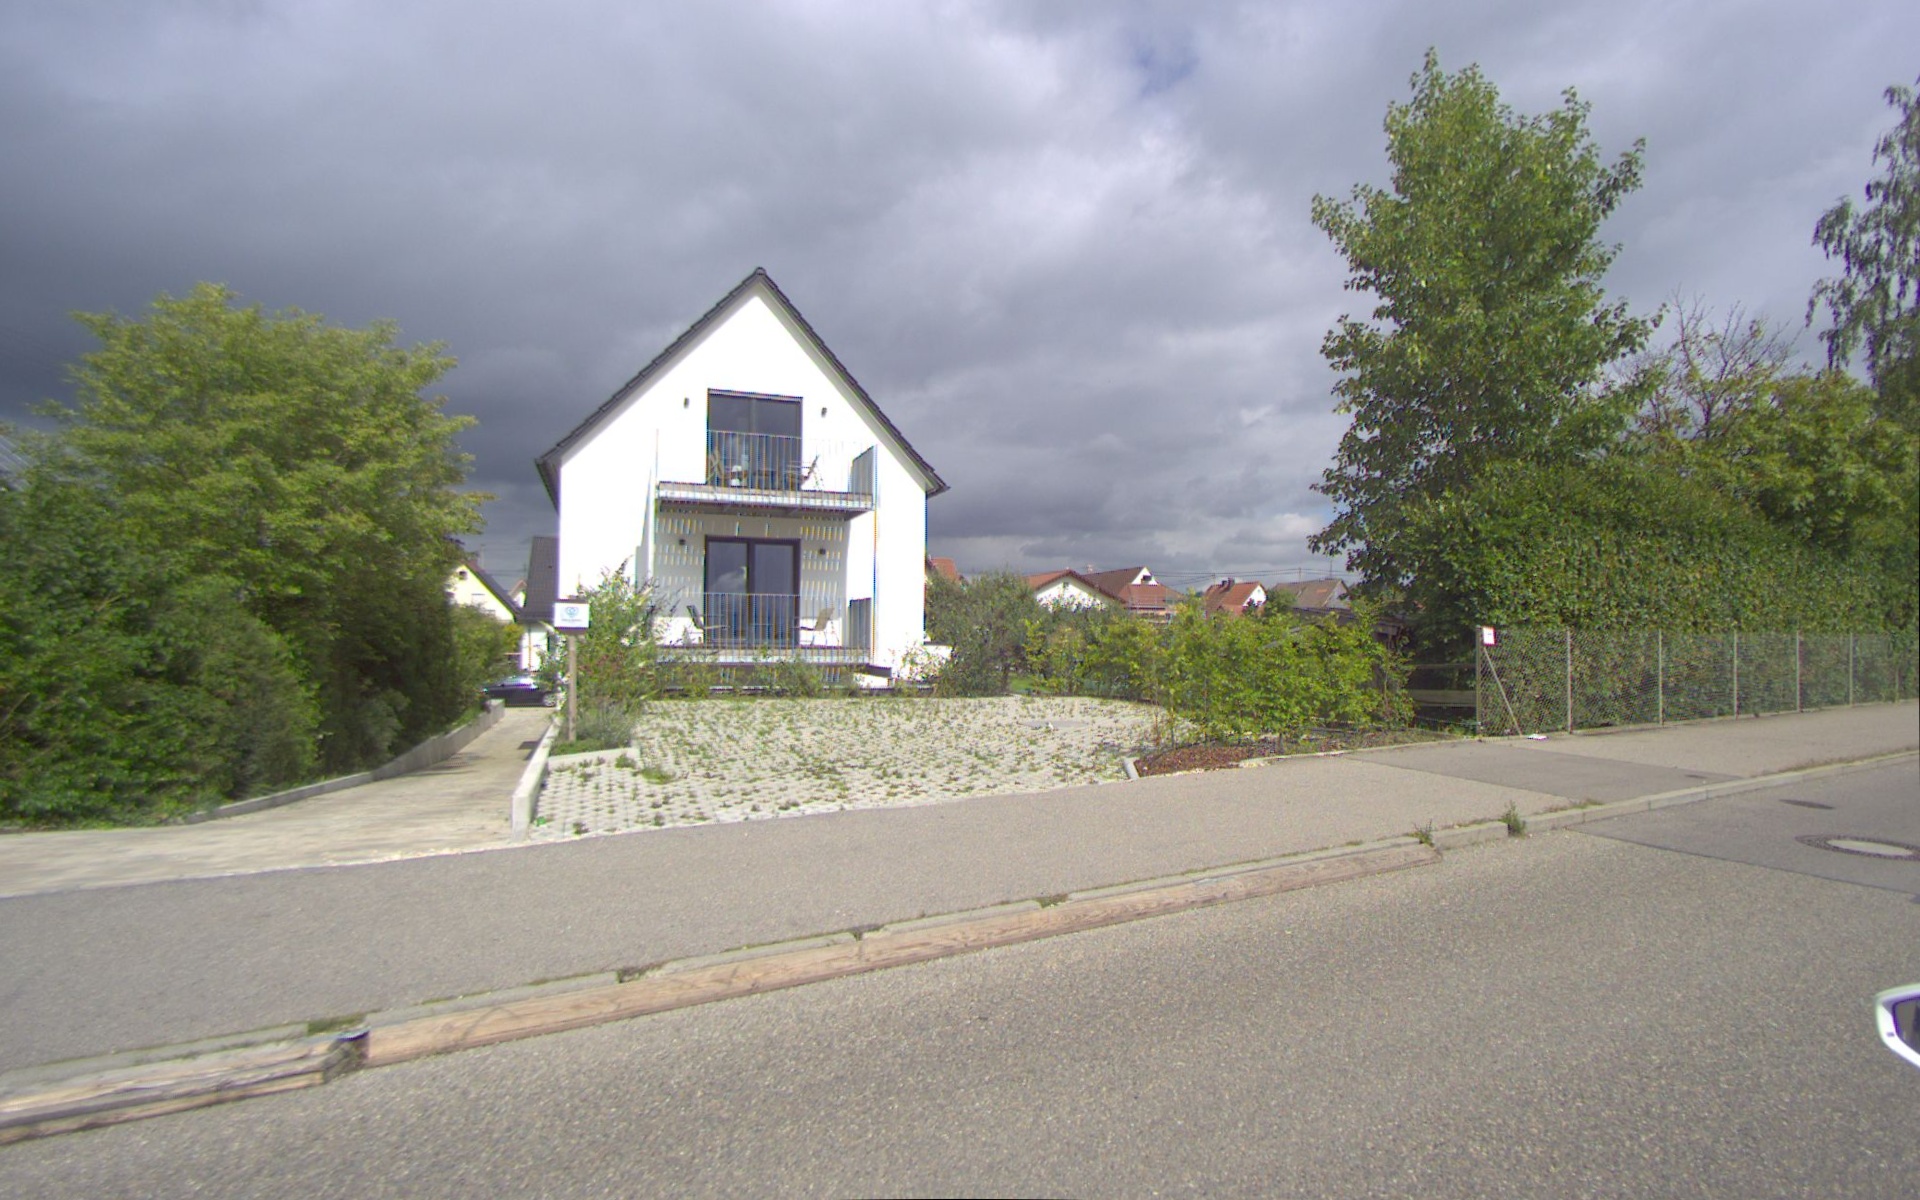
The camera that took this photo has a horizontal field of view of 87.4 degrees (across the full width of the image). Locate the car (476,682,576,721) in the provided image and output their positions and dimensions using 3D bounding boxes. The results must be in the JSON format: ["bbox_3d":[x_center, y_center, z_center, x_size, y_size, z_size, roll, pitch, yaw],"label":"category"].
[{"bbox_3d":[-19.038,4.429,44.167,3.945,1.554,1.880,1,-3,-24],"label":"car"}]
